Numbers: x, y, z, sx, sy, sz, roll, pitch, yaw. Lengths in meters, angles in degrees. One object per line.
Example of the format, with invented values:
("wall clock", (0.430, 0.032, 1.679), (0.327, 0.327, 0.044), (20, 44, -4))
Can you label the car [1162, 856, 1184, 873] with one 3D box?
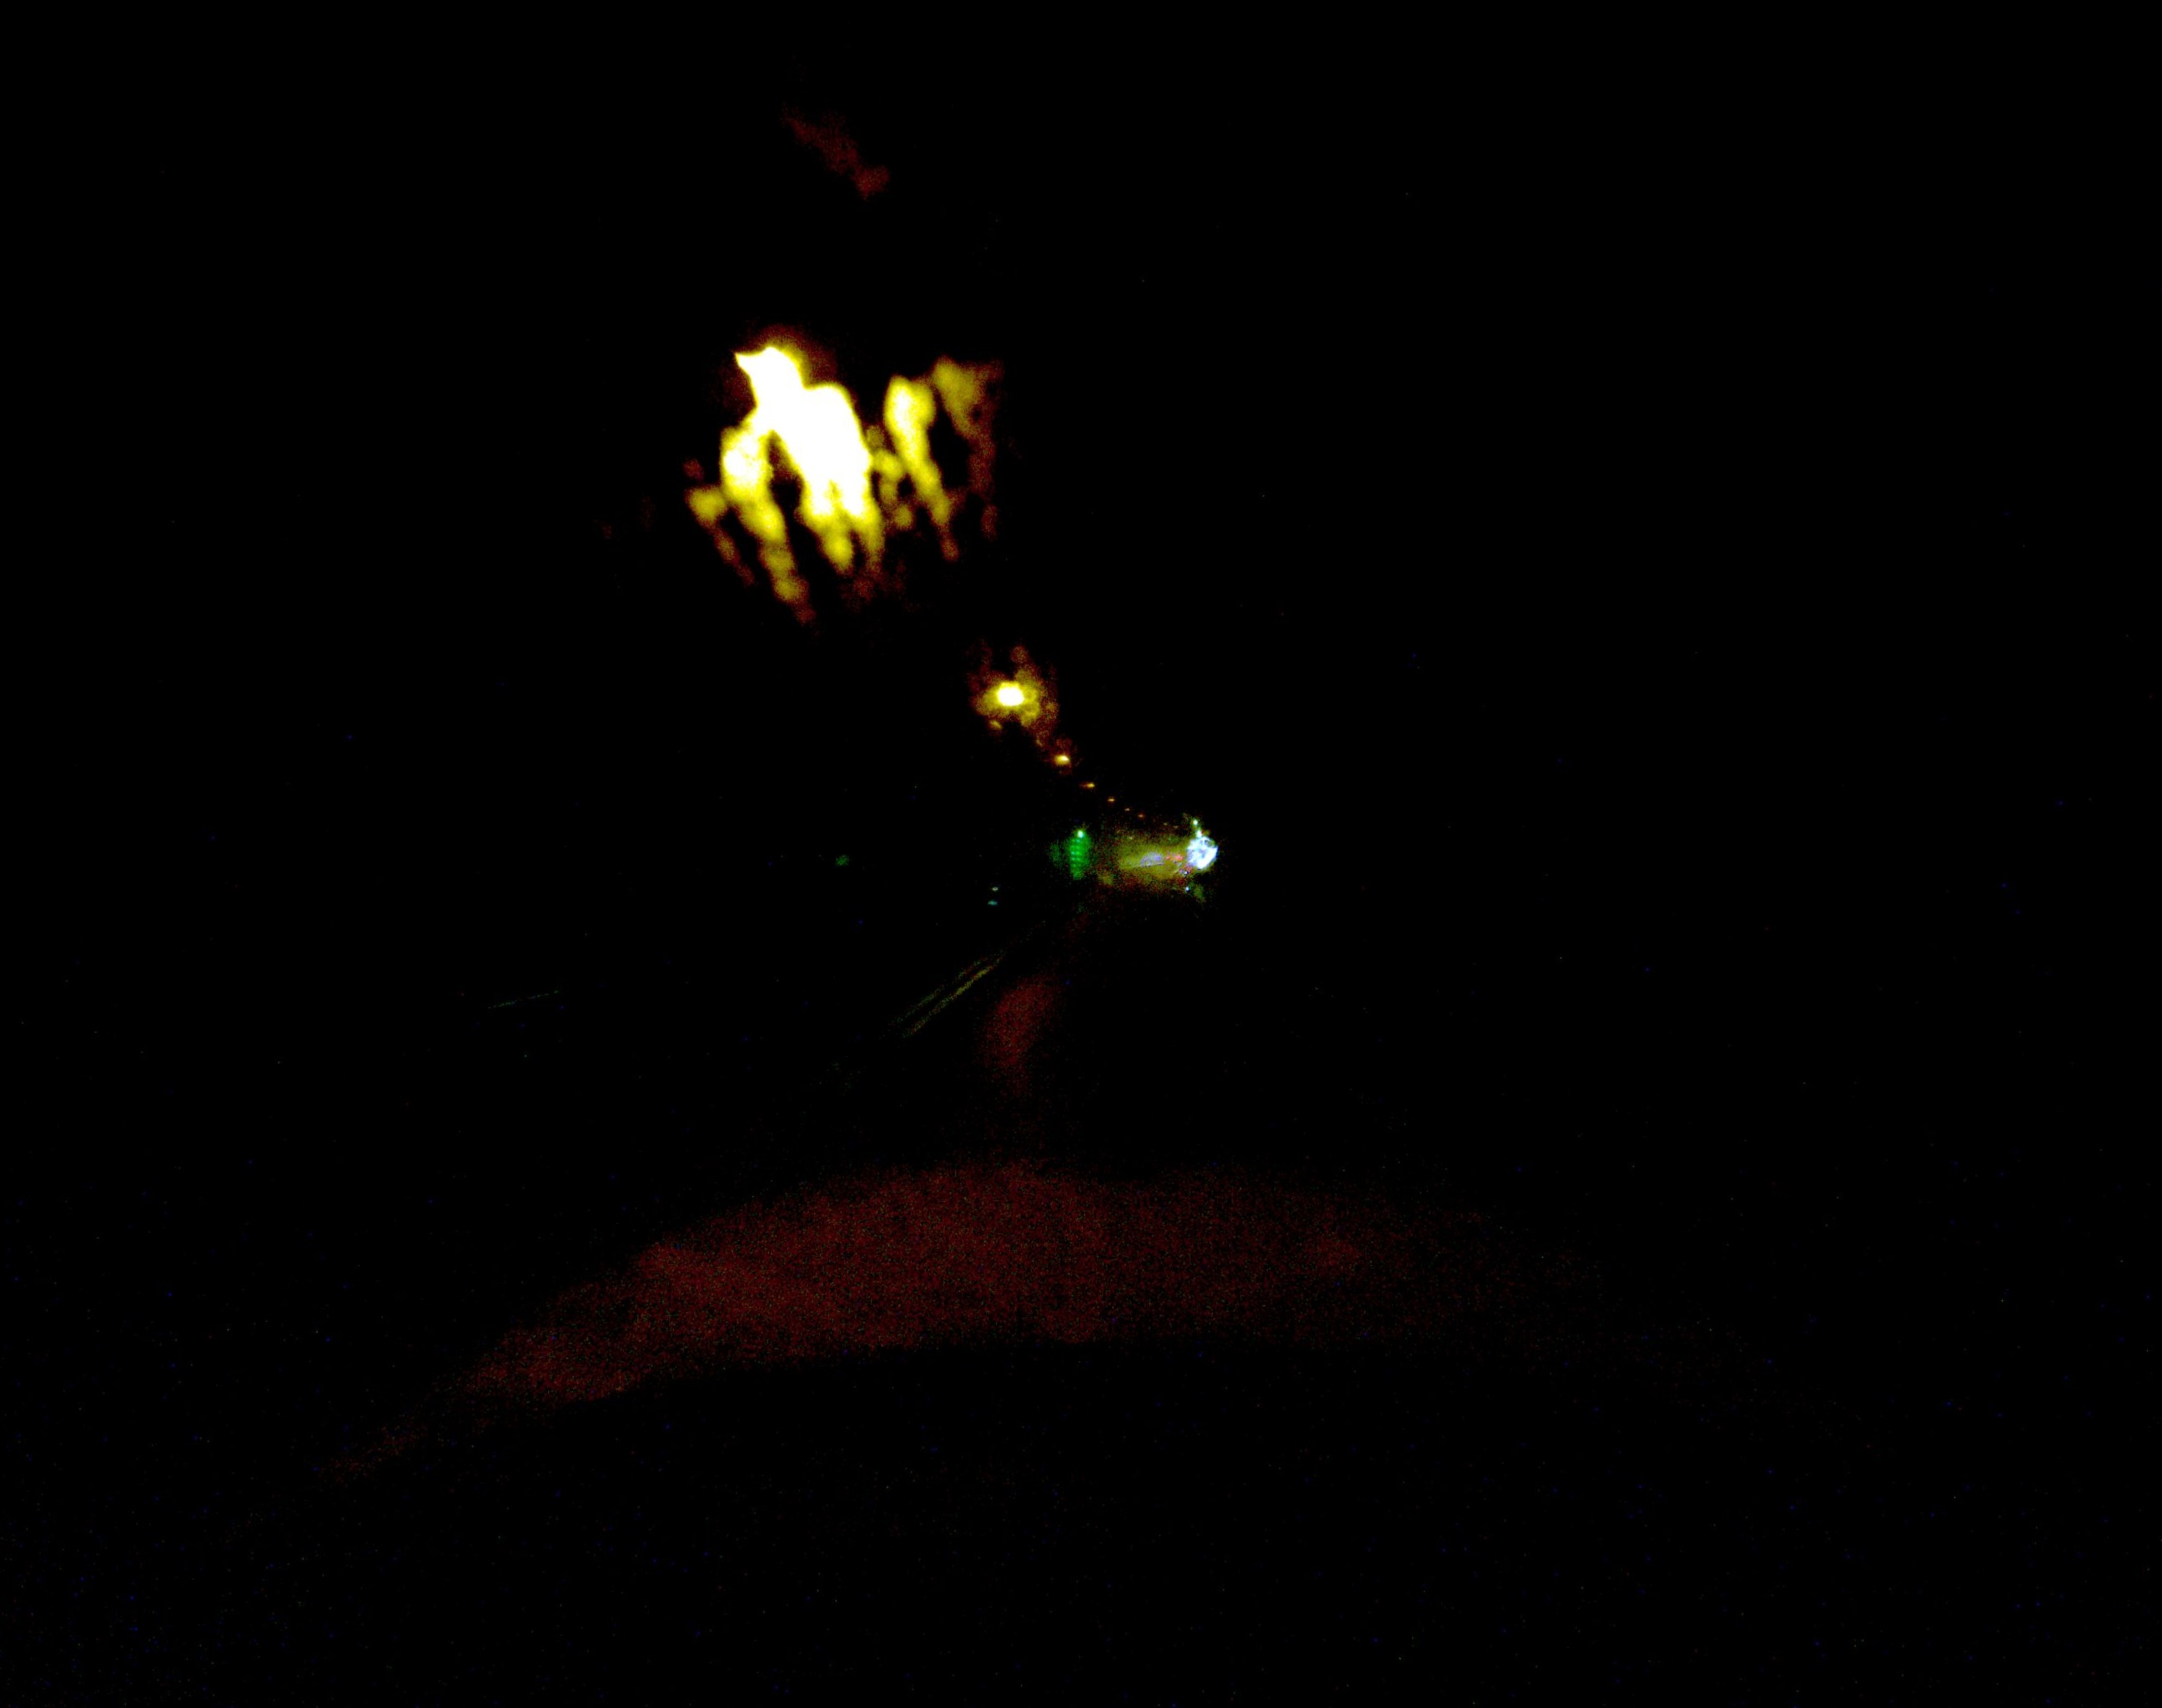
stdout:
("car", (9.451, 1.084, 83.259), (1.982, 1.650, 4.010), (-1, 0, 9))
